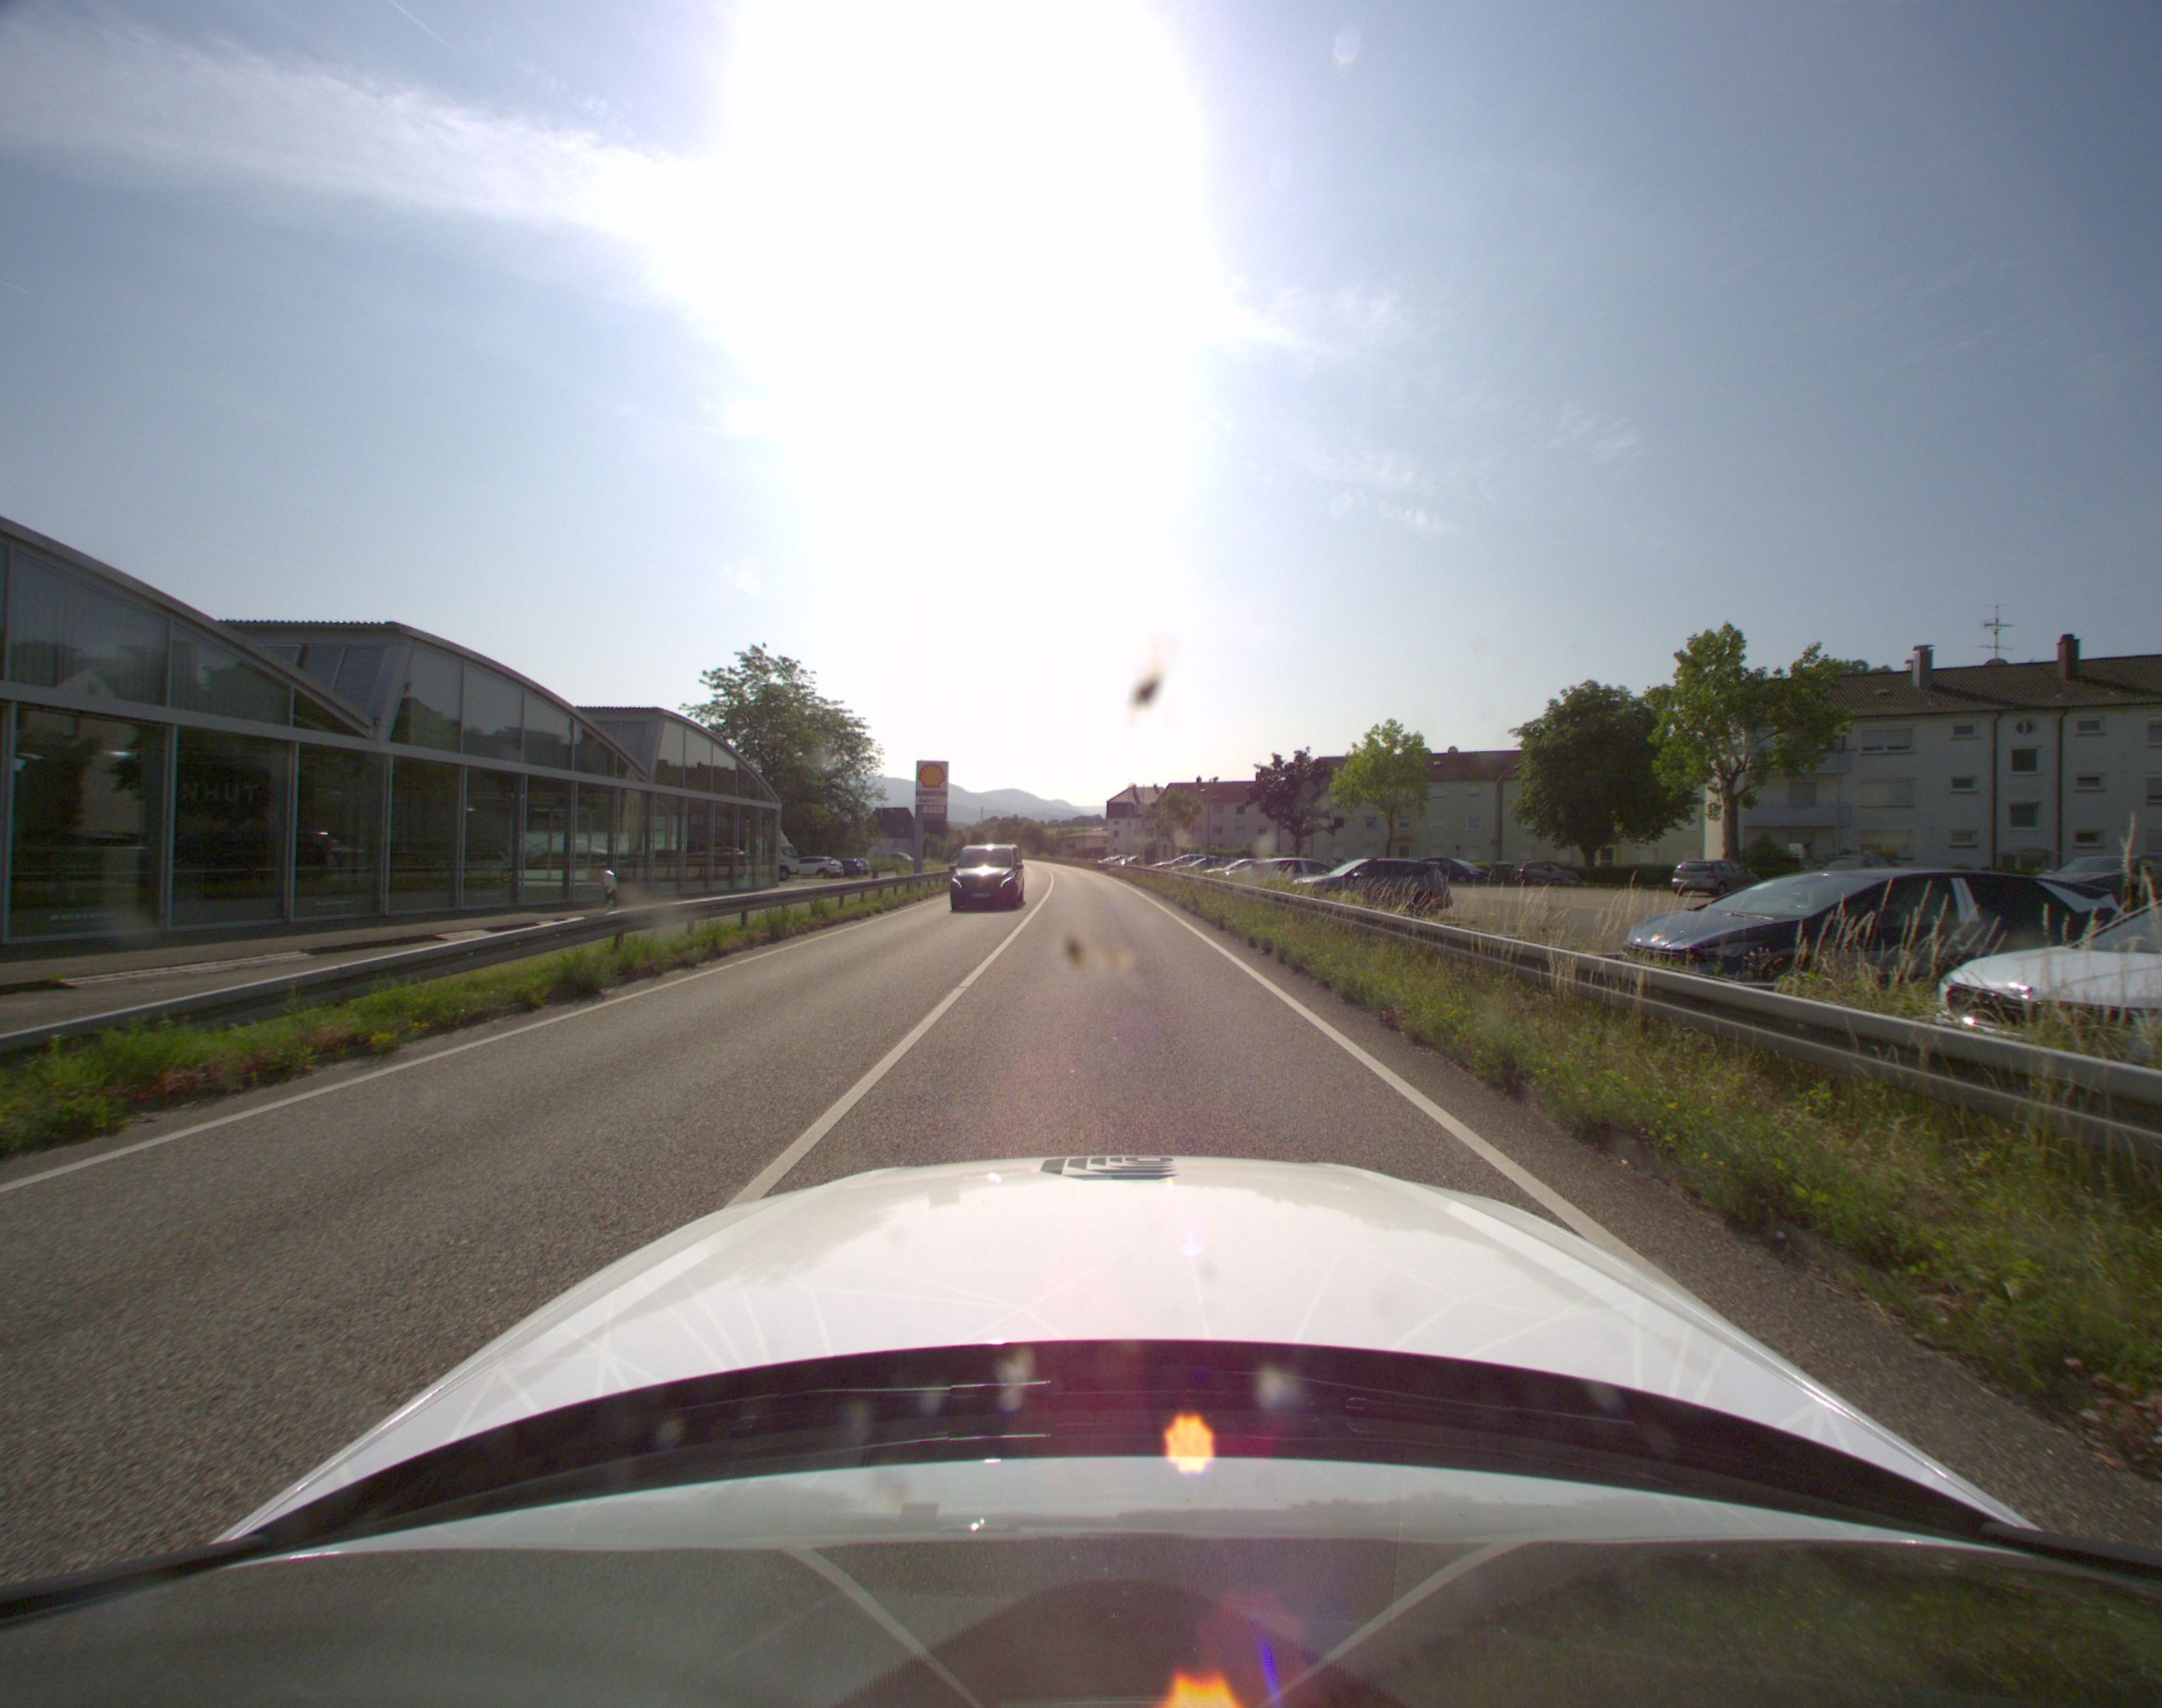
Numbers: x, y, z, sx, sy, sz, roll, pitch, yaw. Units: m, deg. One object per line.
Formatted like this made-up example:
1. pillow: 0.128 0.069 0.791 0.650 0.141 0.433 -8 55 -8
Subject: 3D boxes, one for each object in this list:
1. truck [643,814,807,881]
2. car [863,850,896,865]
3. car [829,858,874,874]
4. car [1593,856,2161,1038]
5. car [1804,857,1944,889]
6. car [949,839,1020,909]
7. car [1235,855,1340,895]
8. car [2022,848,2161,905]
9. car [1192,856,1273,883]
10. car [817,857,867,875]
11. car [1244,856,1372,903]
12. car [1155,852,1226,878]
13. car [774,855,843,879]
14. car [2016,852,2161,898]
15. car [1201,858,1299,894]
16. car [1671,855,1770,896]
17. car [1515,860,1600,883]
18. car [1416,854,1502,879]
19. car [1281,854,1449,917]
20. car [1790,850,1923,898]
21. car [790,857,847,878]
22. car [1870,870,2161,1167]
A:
1. truck: -20.300 -0.330 47.002 2.770 3.556 8.263 1 0 39
2. car: -27.857 0.496 112.470 4.844 2.013 2.012 0 0 43
3. car: -21.453 1.089 76.146 3.741 1.460 1.858 0 -1 -5
4. car: 7.817 0.853 8.242 4.144 1.545 1.741 -1 -1 1
5. car: 31.051 0.724 32.003 1.598 1.186 3.629 0 -1 -28
6. car: -2.843 0.554 24.993 1.911 1.885 4.903 -1 0 -4
7. car: 8.302 0.841 32.972 3.834 1.568 1.807 0 -1 0
8. car: 30.021 0.612 23.601 4.630 1.521 1.854 0 -1 -16
9. car: 8.597 0.871 46.316 4.309 1.444 1.627 0 -1 -3
10. car: -20.515 1.037 70.081 3.741 1.499 1.929 1 0 -5
11. car: 7.833 0.875 28.357 3.976 1.580 1.777 0 -1 -2
12. car: 6.952 0.688 52.150 4.305 1.640 2.140 0 -1 0
13. car: -19.552 0.918 58.609 4.346 1.655 1.928 1 -1 -7
14. car: 34.695 0.680 27.378 1.789 1.475 3.957 0 -1 -24
15. car: 7.432 0.960 36.057 3.974 1.521 1.697 0 -1 0
16. car: 25.249 0.797 32.133 3.773 1.521 1.643 0 0 -27
17. car: 25.027 0.890 42.931 1.596 1.186 3.633 0 -1 -24
18. car: 22.313 0.724 48.315 1.917 1.405 4.488 0 -1 -24
19. car: 7.725 0.835 22.416 3.974 1.640 1.887 0 -1 0
20. car: 27.479 0.658 28.845 4.503 1.600 1.827 0 -1 -24
21. car: -19.726 1.011 61.396 3.743 1.499 1.928 1 0 -7
22. car: 8.023 0.895 5.224 4.144 1.556 1.772 -1 -1 1
